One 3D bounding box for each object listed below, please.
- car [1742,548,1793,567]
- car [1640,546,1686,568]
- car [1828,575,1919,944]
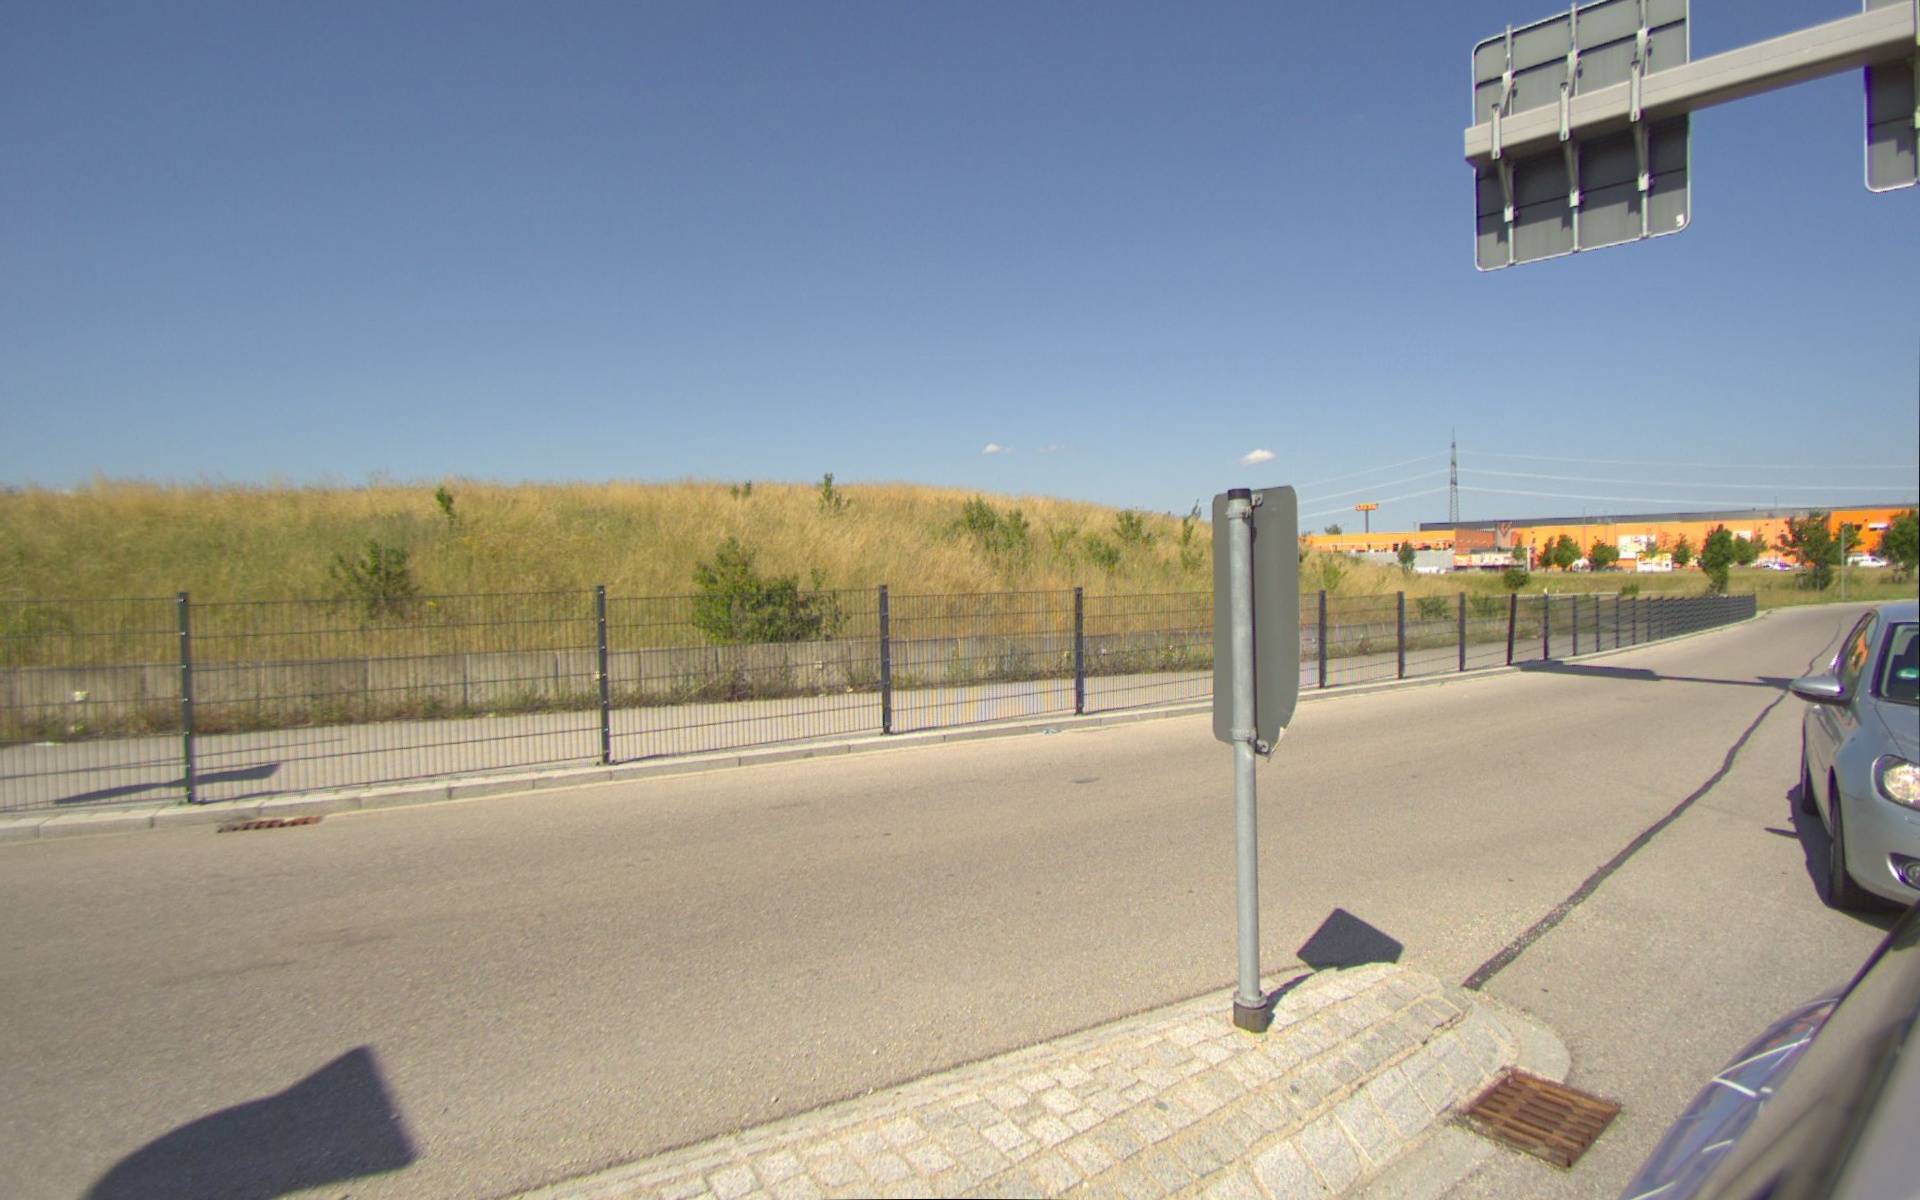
[{"bbox_3d":[95.590,-5.046,119.906,4.611,2.039,1.973,-1,1,38],"label":"car"},{"bbox_3d":[87.865,-5.373,126.576,4.611,2.580,1.973,-1,1,38],"label":"car"},{"bbox_3d":[5.626,0.641,5.169,1.740,1.486,3.903,3,3,41],"label":"car"}]
